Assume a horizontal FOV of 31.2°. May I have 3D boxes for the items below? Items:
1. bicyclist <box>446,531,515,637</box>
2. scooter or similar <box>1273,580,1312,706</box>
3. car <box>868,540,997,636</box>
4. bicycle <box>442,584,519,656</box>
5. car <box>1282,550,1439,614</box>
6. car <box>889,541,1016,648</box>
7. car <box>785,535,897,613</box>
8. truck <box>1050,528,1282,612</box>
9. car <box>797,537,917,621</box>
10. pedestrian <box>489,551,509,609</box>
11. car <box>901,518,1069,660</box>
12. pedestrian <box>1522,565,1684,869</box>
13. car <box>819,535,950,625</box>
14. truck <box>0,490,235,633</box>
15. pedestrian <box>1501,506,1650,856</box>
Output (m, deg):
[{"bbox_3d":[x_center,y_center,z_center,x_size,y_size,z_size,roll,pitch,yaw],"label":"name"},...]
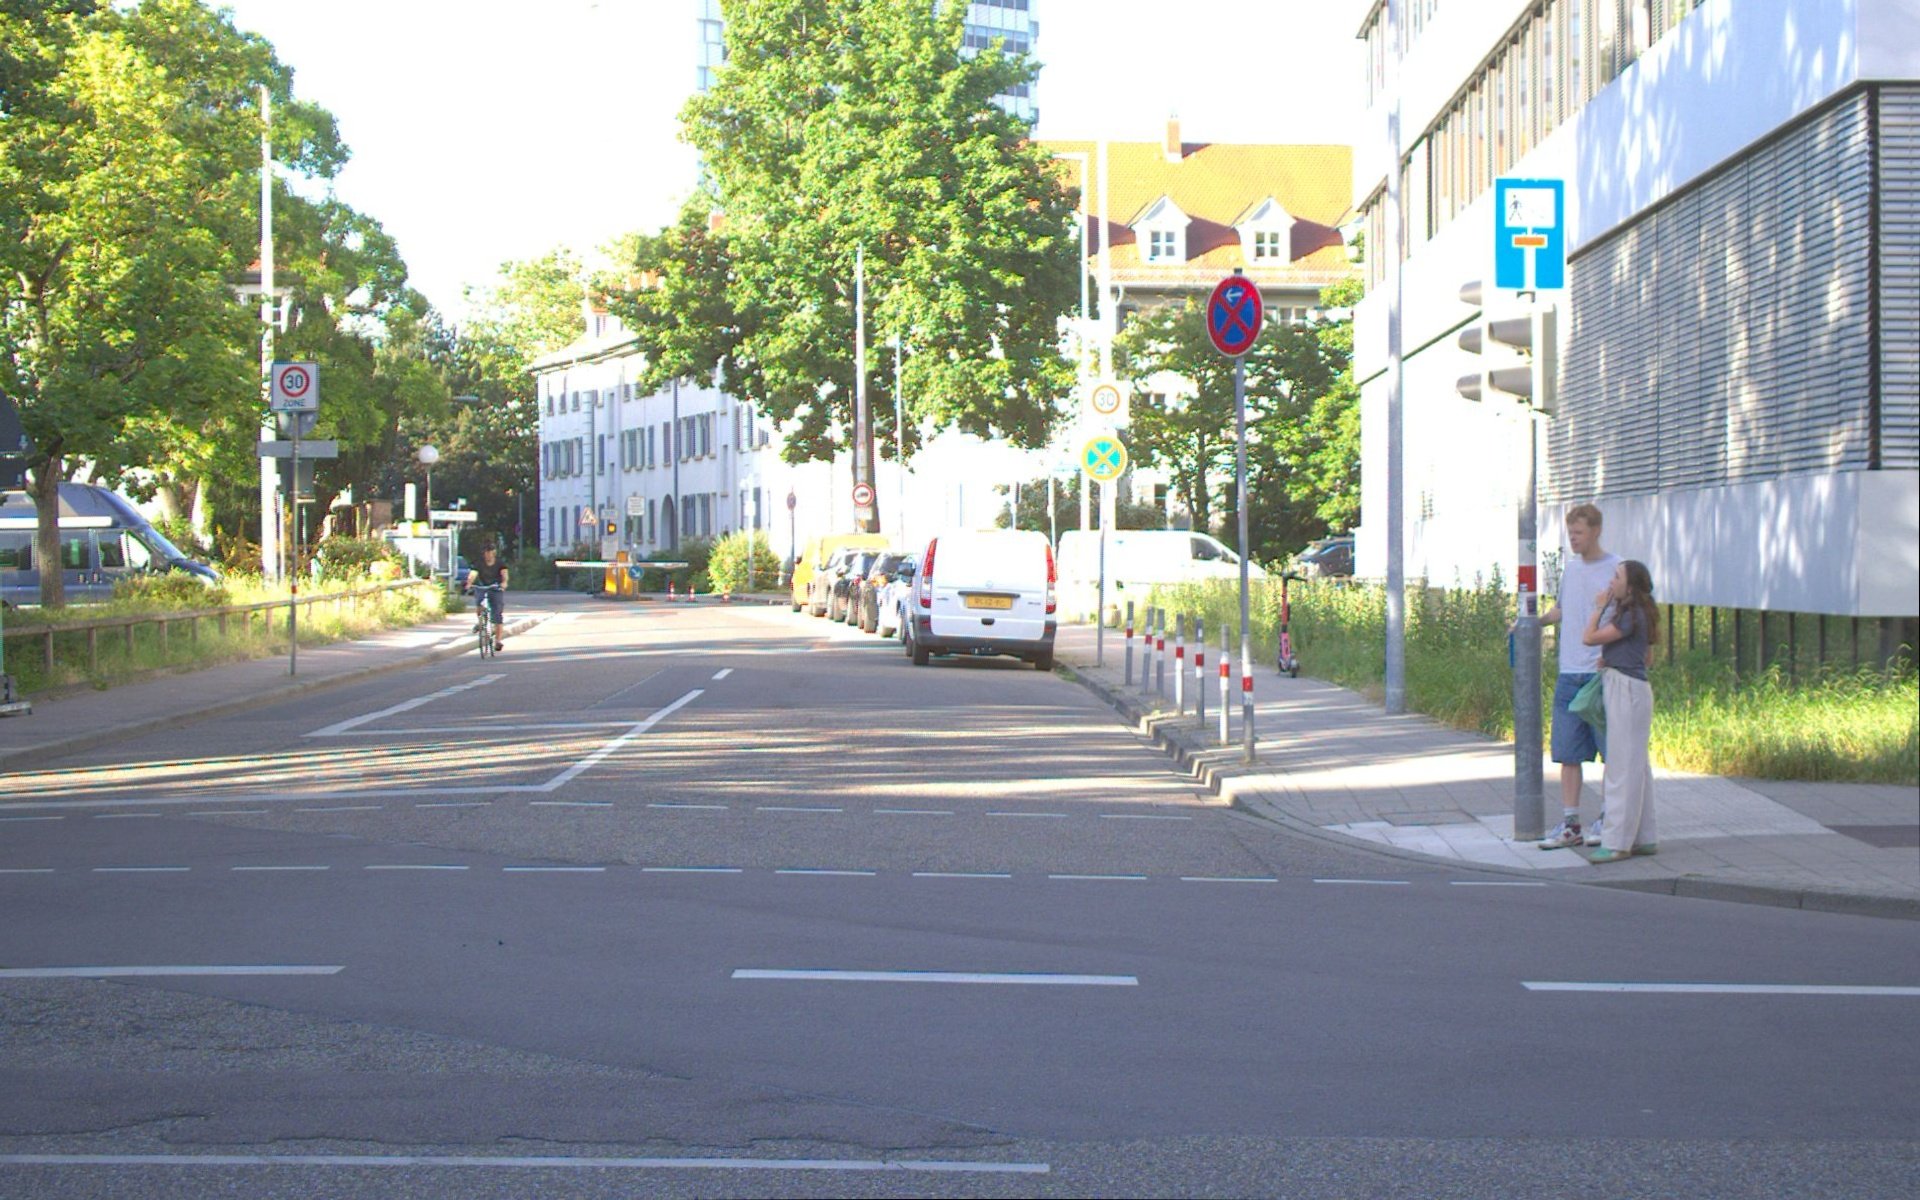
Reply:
[{"bbox_3d":[-7.099,-0.238,50.915,0.865,1.510,1.019,-2,0,-3],"label":"bicyclist"},{"bbox_3d":[3.826,0.485,39.583,0.330,1.419,1.335,2,0,2],"label":"scooter or similar"},{"bbox_3d":[-0.524,-0.234,60.190,1.888,1.550,4.416,1,2,-5],"label":"car"},{"bbox_3d":[-7.086,0.281,50.902,0.865,1.006,2.414,-2,0,-3],"label":"bicycle"},{"bbox_3d":[9.875,-0.452,84.847,3.554,1.541,1.559,0,0,-10],"label":"car"},{"bbox_3d":[-0.162,-0.122,54.706,1.888,1.550,4.416,1,2,-2],"label":"car"},{"bbox_3d":[-2.731,-0.602,77.888,1.888,1.650,4.416,0,2,-10],"label":"car"},{"bbox_3d":[5.040,-0.737,84.369,5.336,2.007,2.001,0,0,-10],"label":"truck"},{"bbox_3d":[-2.214,-0.467,72.853,1.888,1.650,4.416,0,2,-10],"label":"car"},{"bbox_3d":[-13.259,-0.582,98.856,0.545,1.671,0.476,0,1,-9],"label":"pedestrian"},{"bbox_3d":[0.290,-0.193,46.441,2.085,1.789,4.416,1,2,-2],"label":"car"},{"bbox_3d":[3.371,0.597,18.055,0.559,1.535,0.677,-3,1,-10],"label":"pedestrian"},{"bbox_3d":[-1.521,-0.414,67.665,1.888,1.650,4.416,0,2,-10],"label":"car"},{"bbox_3d":[-15.092,-0.681,59.144,4.828,2.391,2.087,0,1,-1],"label":"truck"},{"bbox_3d":[3.347,0.430,18.669,0.560,1.844,0.676,-3,1,24],"label":"pedestrian"}]
